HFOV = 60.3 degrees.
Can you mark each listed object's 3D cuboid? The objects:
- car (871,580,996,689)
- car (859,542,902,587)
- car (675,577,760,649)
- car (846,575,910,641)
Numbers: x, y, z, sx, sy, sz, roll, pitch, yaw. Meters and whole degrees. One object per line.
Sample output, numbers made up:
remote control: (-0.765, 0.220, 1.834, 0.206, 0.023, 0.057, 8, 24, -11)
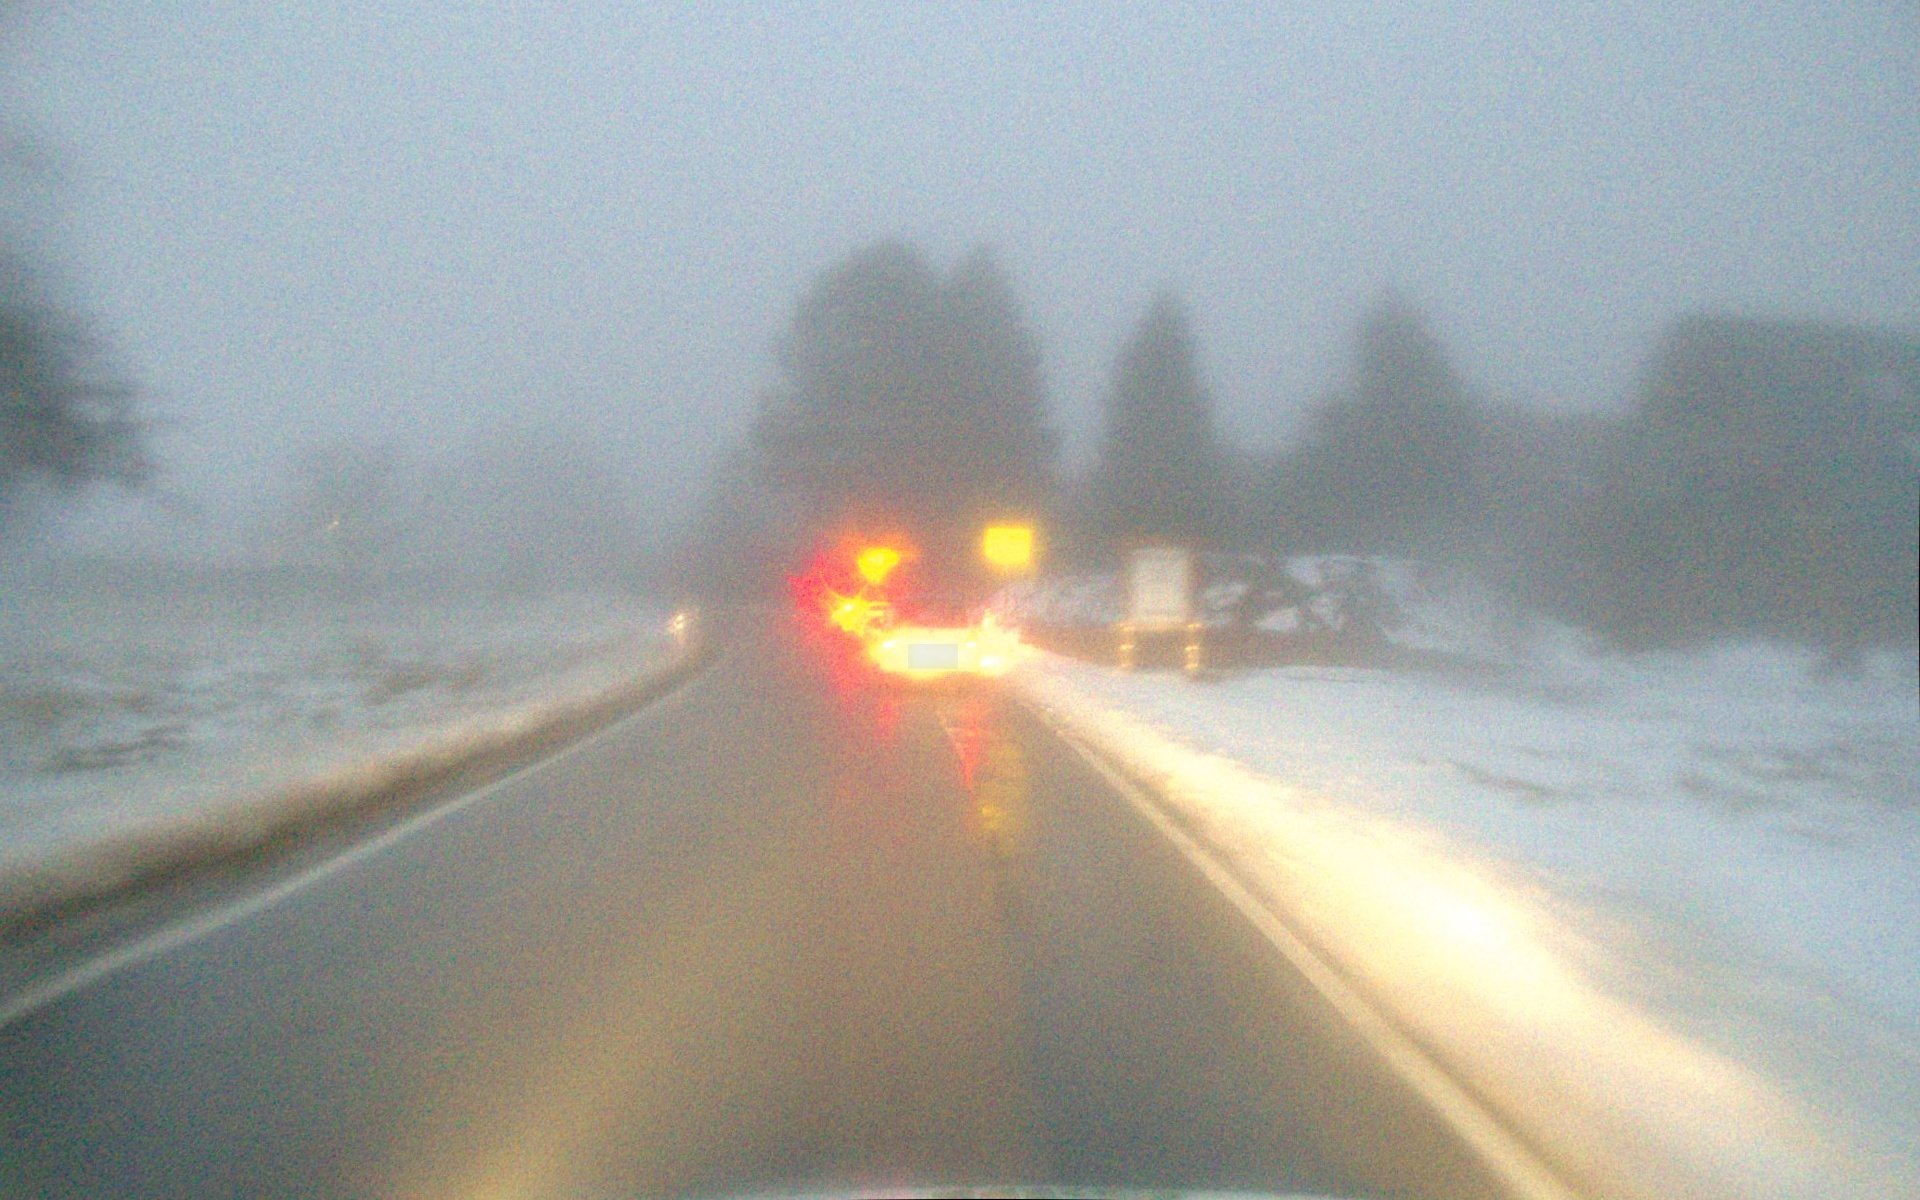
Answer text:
car: (-0.496, 0.564, 26.394, 1.674, 1.489, 3.996, 4, -2, -4)
car: (-2.825, -1.242, 59.383, 1.449, 1.534, 3.052, 0, 0, -1)
car: (-5.377, 0.290, 36.882, 1.491, 1.534, 3.052, 0, 0, -1)
car: (-1.960, 0.178, 39.955, 1.449, 1.534, 3.052, 0, 0, -1)
